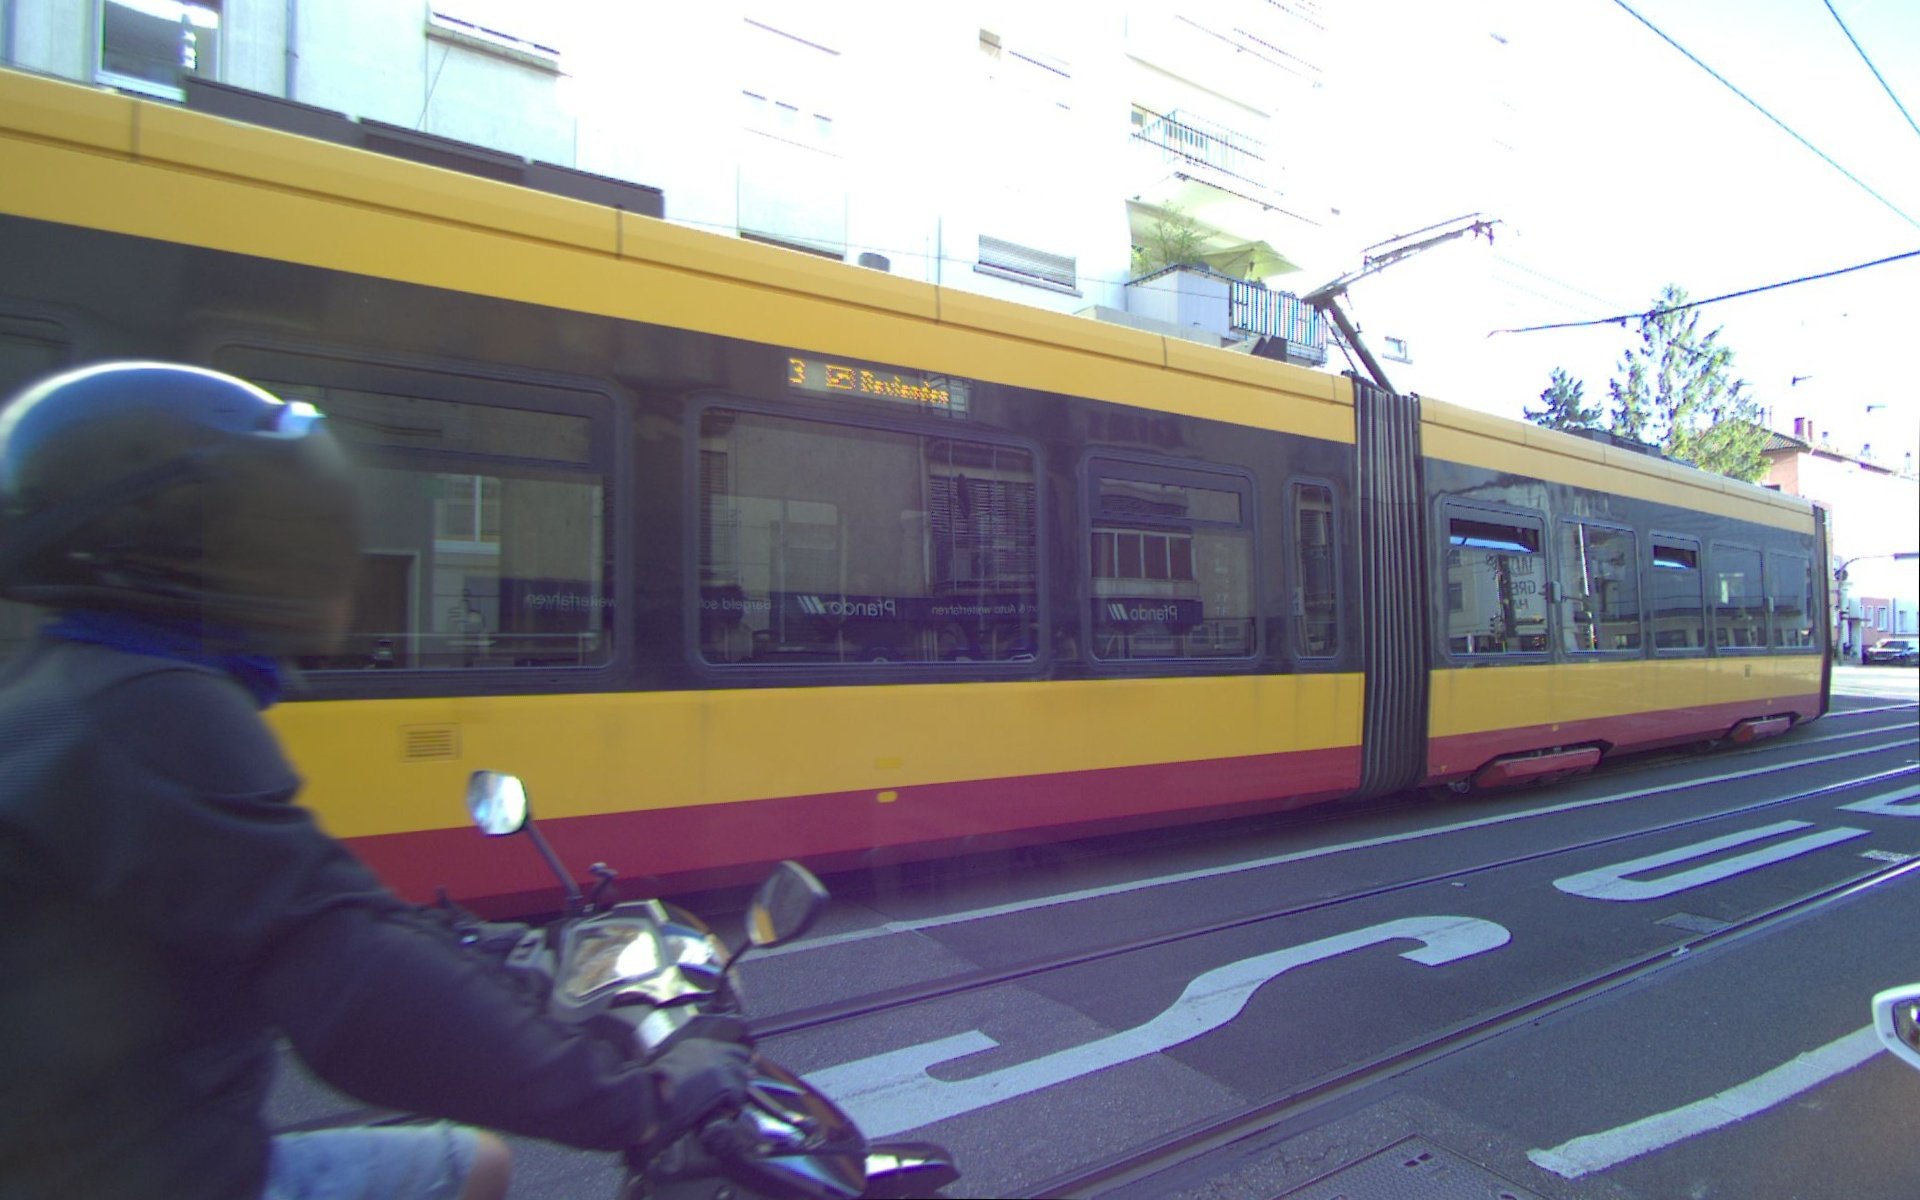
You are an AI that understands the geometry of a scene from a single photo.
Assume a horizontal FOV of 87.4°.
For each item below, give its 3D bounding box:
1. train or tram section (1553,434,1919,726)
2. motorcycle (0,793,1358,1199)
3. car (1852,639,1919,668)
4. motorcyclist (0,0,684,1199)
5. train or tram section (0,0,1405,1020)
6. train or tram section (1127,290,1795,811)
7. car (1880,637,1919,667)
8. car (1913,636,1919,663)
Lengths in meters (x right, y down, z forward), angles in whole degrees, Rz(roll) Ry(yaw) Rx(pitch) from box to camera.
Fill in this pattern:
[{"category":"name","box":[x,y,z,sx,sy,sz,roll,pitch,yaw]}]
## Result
[{"category":"train or tram section","box":[15.020,-0.089,18.284,14.149,3.680,2.721,2,0,-40]},{"category":"motorcycle","box":[-0.535,0.903,0.887,1.958,1.235,0.534,2,0,-31]},{"category":"car","box":[49.537,2.835,53.631,3.949,1.440,1.784,2,0,-31]},{"category":"motorcyclist","box":[-0.674,0.455,0.908,0.591,1.525,0.856,2,0,-30]},{"category":"train or tram section","box":[-2.934,-0.479,4.860,12.497,3.640,3.045,2,-3,-34]},{"category":"train or tram section","box":[6.001,-0.260,10.969,9.001,3.679,2.804,2,0,-37]},{"category":"car","box":[53.382,2.894,56.071,4.250,1.518,1.806,2,0,-30]},{"category":"car","box":[58.389,2.973,59.494,4.103,1.531,1.778,2,0,-31]}]
